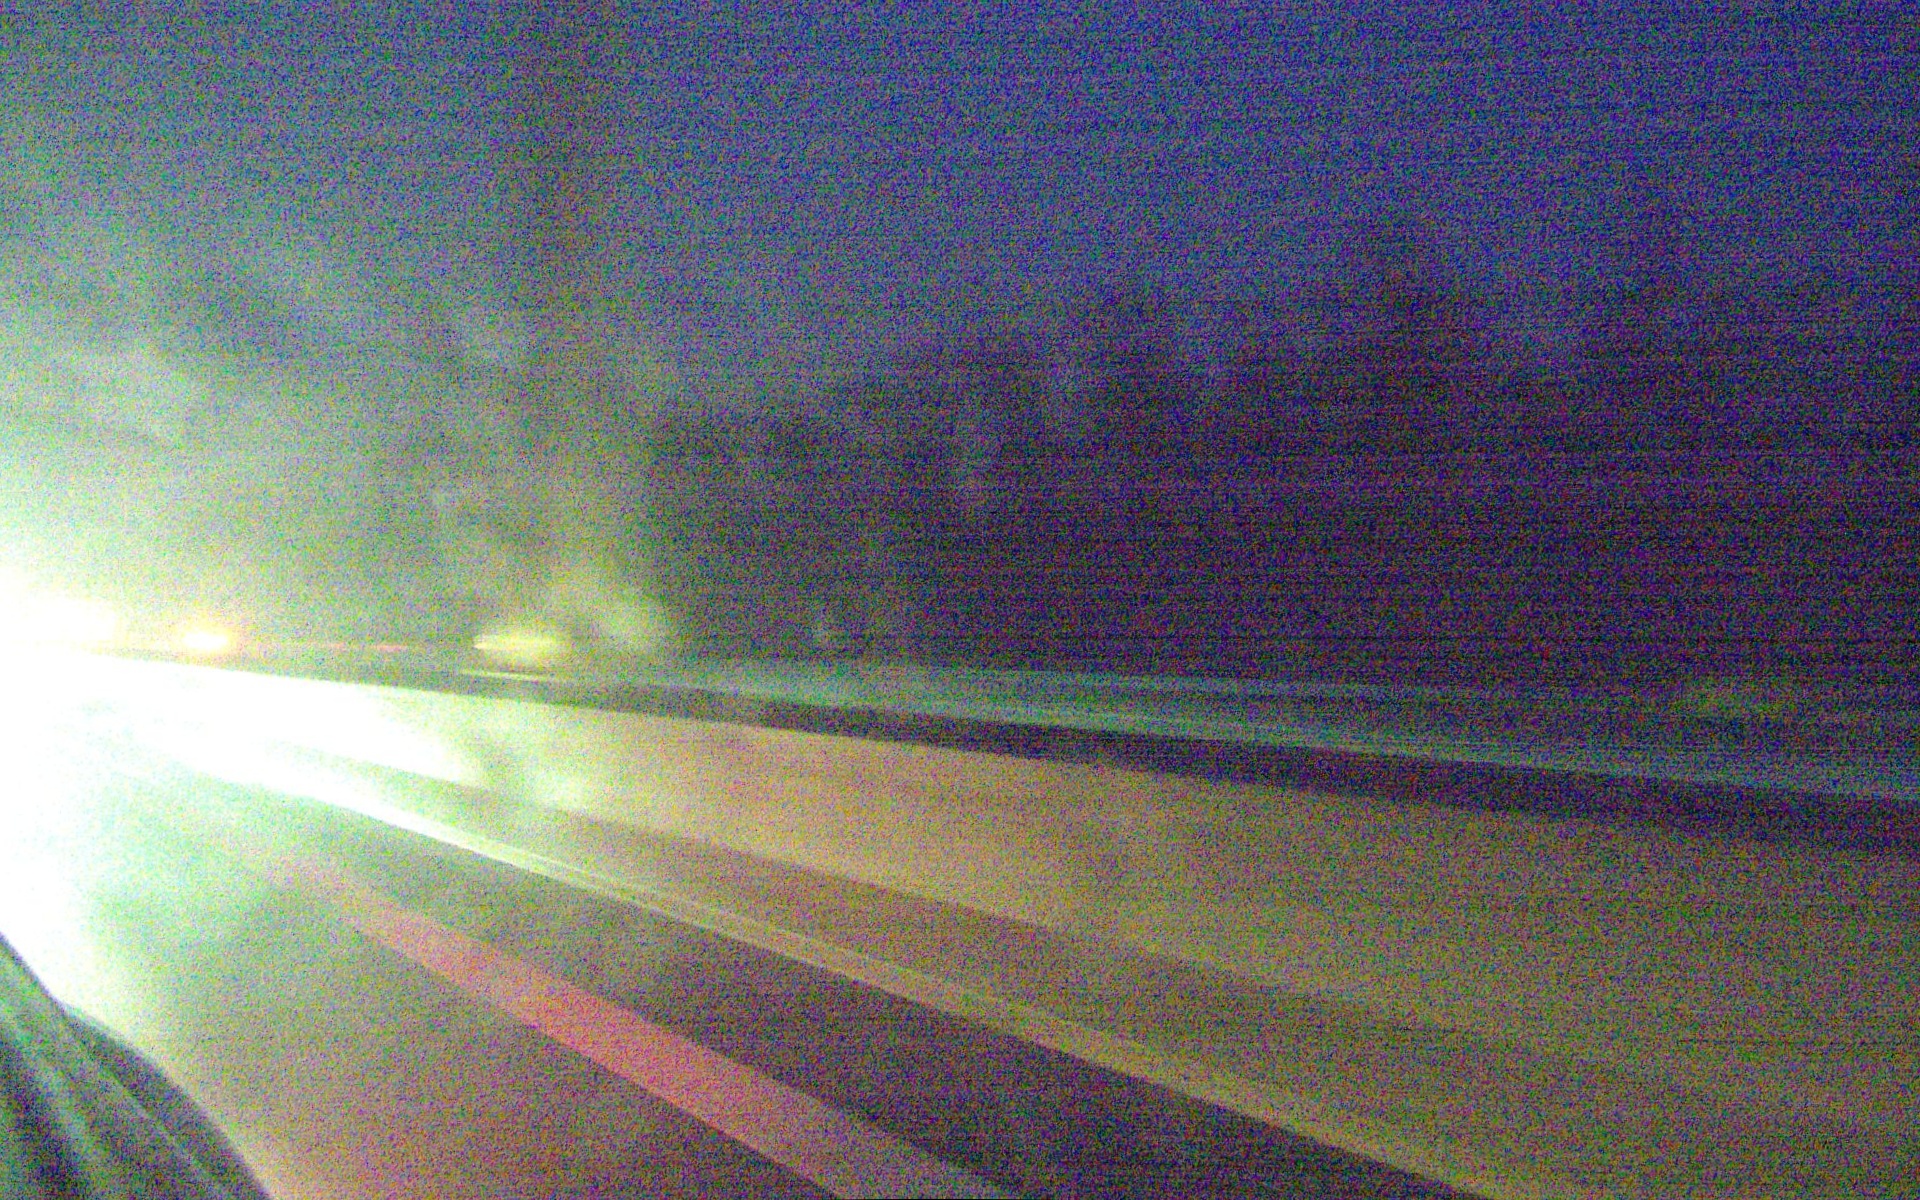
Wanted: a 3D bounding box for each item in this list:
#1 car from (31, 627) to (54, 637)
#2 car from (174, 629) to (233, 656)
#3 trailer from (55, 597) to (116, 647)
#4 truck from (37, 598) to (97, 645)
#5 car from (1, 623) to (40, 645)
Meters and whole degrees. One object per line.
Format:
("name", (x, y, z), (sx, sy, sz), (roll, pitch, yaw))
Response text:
("car", (-139.170, 4.880, 153.478), (4.347, 1.482, 1.845), (-1, 0, 38))
("car", (-47.648, 2.622, 63.689), (4.963, 1.512, 1.973), (-1, 0, 41))
("trailer", (-80.364, 2.041, 92.947), (8.932, 4.309, 2.909), (-1, -3, 41))
("truck", (-88.023, 2.121, 99.691), (11.431, 4.360, 2.900), (-1, -3, 42))
("car", (-82.482, 2.962, 88.841), (4.878, 1.837, 2.041), (-1, 0, 41))
